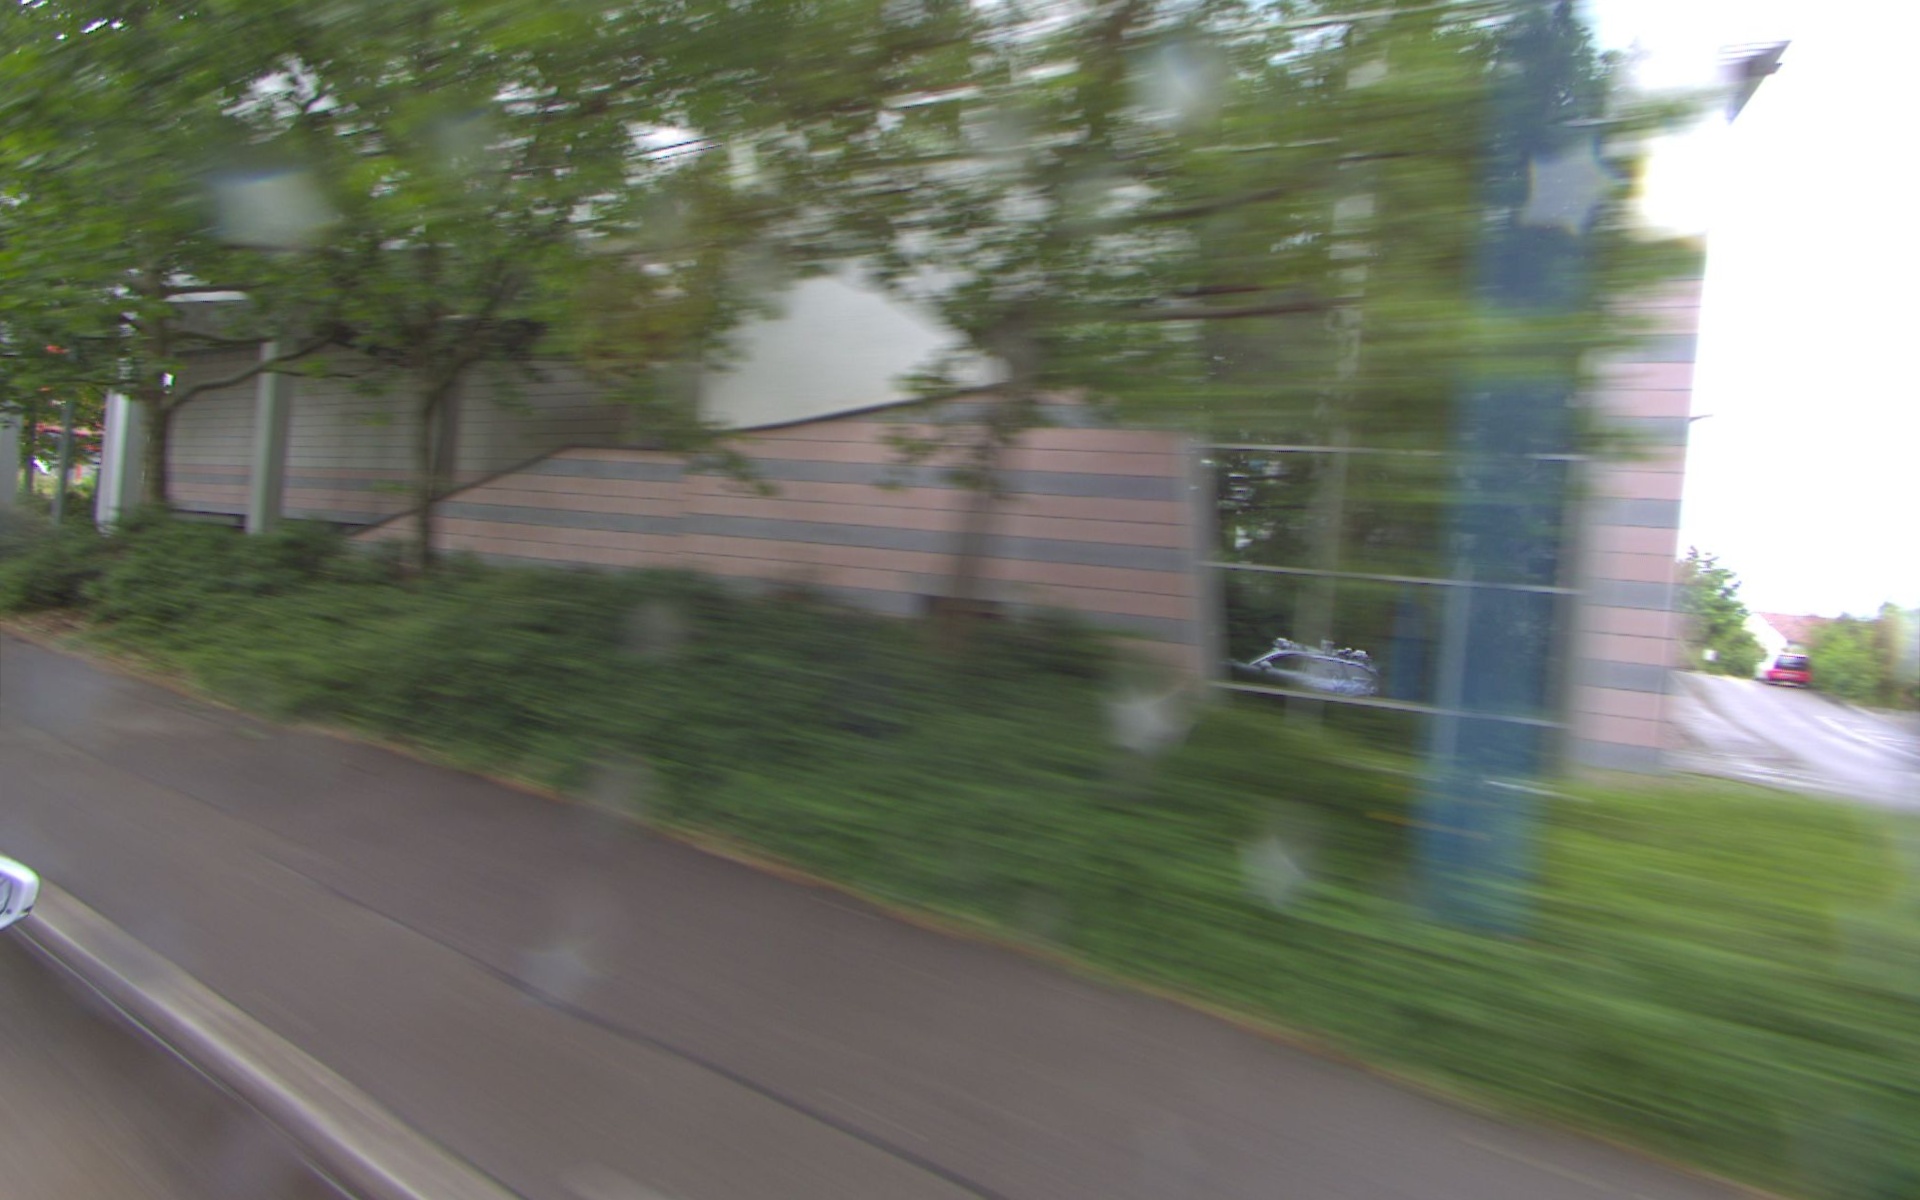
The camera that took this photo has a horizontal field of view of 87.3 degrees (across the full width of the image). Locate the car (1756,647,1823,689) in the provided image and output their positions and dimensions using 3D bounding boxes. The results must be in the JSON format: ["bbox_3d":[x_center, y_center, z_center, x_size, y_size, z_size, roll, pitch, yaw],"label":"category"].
[{"bbox_3d":[38.354,3.117,46.585,1.756,1.656,3.850,7,1,33],"label":"car"}]

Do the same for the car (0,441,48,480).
[{"bbox_3d":[-42.714,-6.335,43.752,1.871,1.392,4.107,7,-1,31],"label":"car"}]
